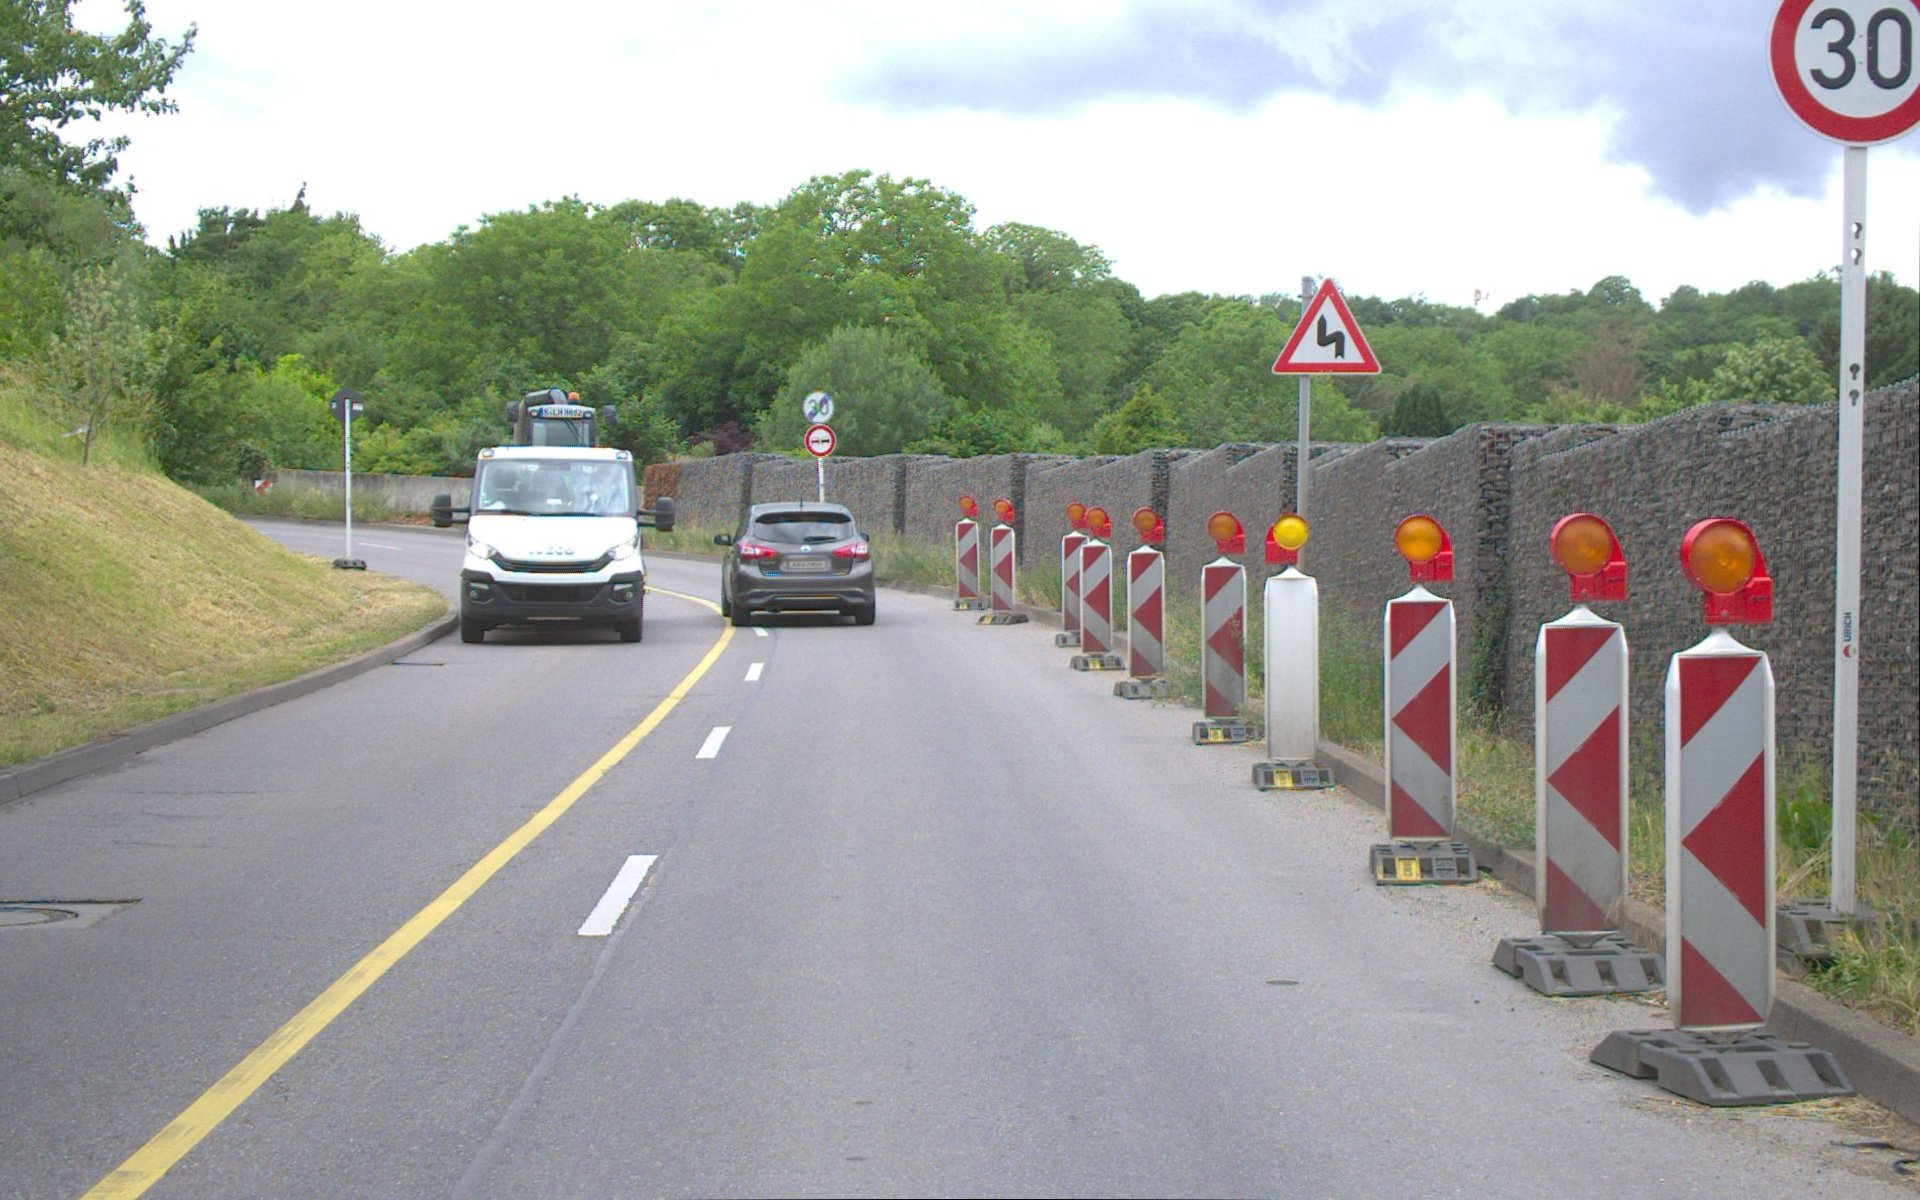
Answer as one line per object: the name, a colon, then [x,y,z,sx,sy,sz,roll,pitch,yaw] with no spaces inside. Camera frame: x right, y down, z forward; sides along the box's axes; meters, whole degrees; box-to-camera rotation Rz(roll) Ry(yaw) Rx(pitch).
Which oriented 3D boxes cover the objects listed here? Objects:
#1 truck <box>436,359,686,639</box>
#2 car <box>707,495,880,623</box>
truck: [-4.594,-1.197,40.838,2.215,3.004,7.740,0,2,-1]
car: [-2.152,-0.554,43.459,1.839,1.478,4.001,-1,2,-7]
